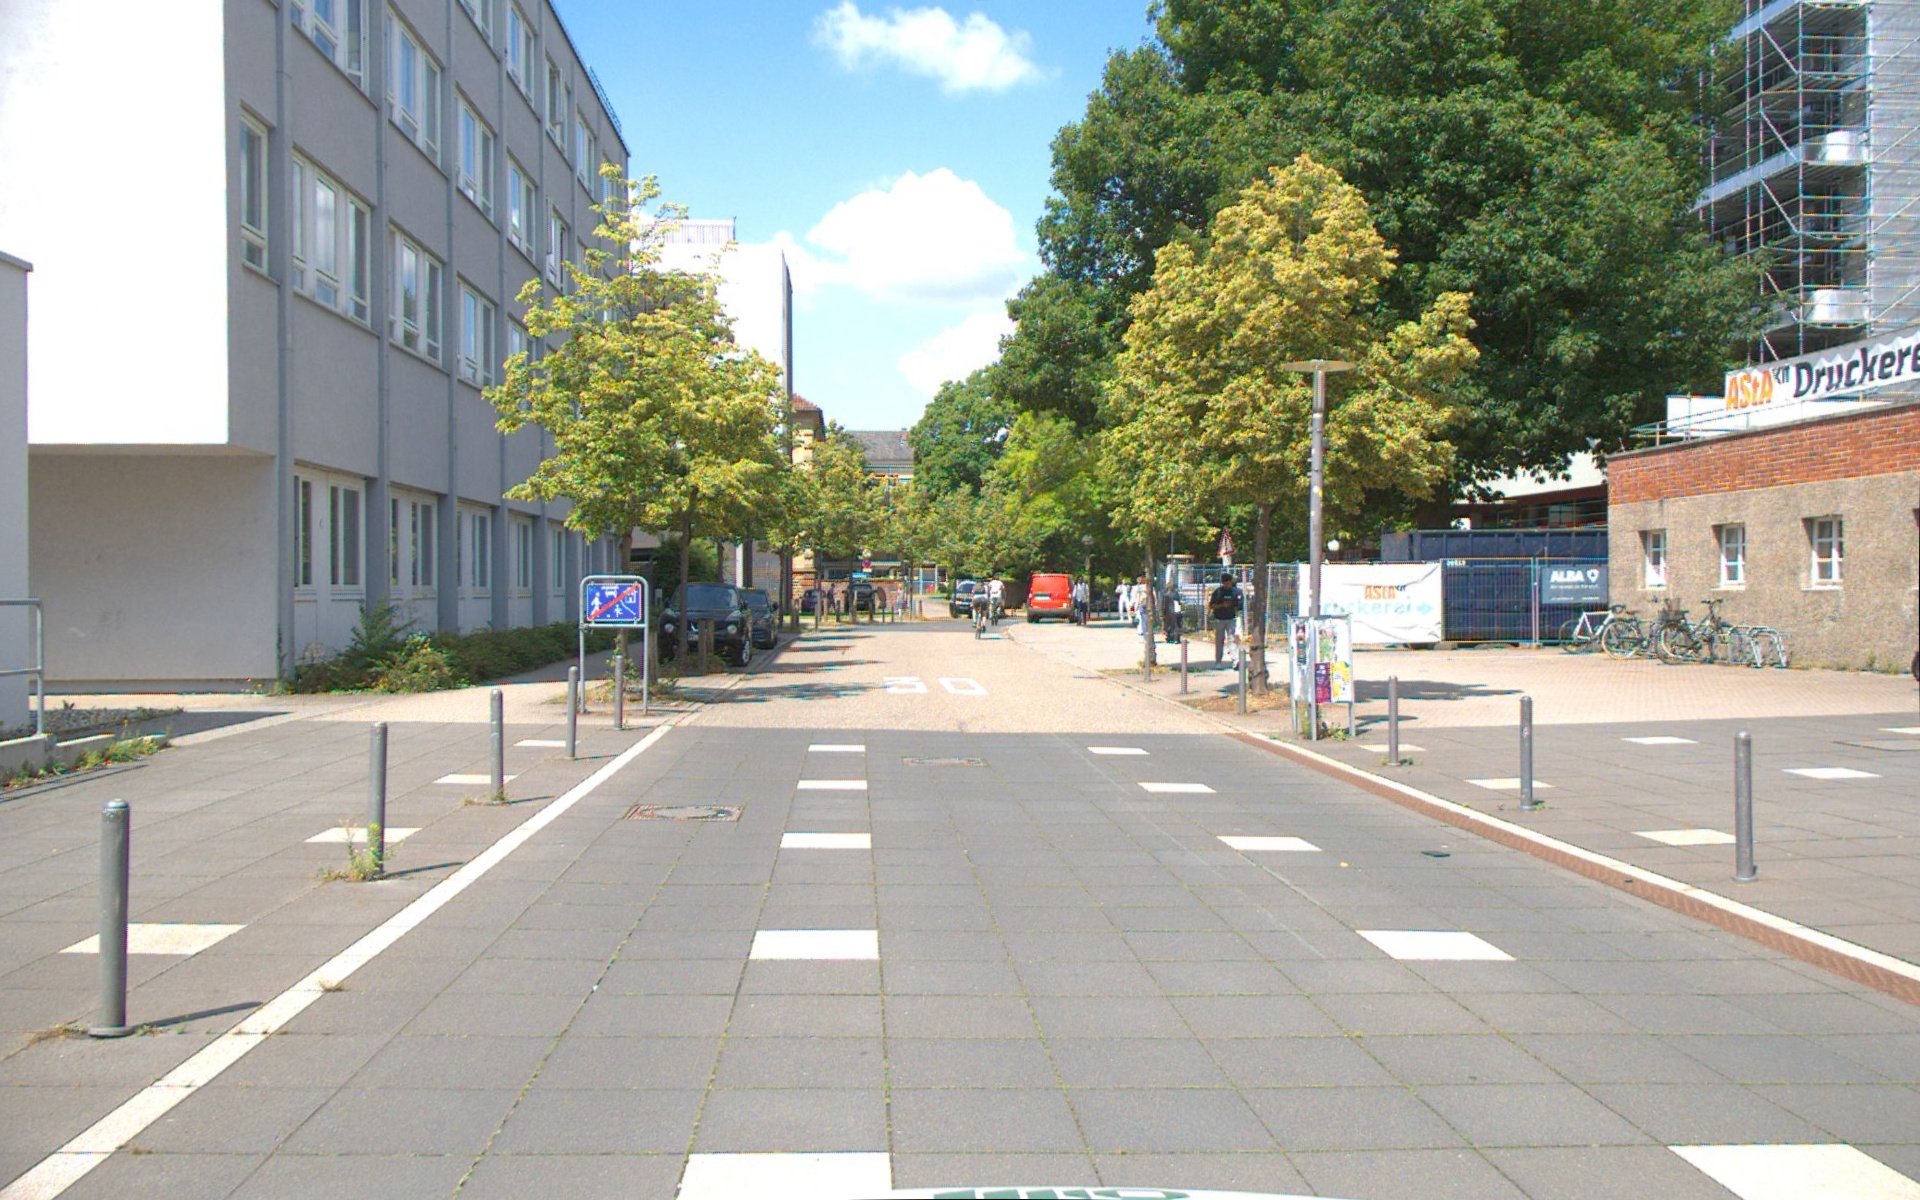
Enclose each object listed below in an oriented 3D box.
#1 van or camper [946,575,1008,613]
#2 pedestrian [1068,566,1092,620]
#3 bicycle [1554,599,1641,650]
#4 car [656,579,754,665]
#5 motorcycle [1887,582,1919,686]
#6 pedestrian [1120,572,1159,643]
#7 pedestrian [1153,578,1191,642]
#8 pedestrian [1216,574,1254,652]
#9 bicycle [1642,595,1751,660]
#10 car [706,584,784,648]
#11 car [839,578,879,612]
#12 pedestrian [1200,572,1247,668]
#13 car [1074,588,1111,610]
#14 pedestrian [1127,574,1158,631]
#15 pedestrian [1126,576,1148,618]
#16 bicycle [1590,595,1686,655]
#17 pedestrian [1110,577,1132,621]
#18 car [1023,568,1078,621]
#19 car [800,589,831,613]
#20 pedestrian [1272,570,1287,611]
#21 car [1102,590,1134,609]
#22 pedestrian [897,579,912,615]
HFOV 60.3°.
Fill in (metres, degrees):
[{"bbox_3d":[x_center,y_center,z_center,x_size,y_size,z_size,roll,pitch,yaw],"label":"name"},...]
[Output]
[{"bbox_3d":[0.954,-0.327,89.261,1.912,1.957,5.424,1,1,16],"label":"van or camper"},{"bbox_3d":[4.131,-0.246,56.890,0.680,1.812,0.787,-1,0,12],"label":"pedestrian"},{"bbox_3d":[13.061,0.501,33.896,1.638,1.021,0.447,0,0,-4],"label":"bicycle"},{"bbox_3d":[-4.997,0.387,32.824,1.664,1.591,4.063,0,0,-5],"label":"car"},{"bbox_3d":[12.747,0.444,20.977,0.682,1.346,2.219,0,0,-2],"label":"motorcycle"},{"bbox_3d":[4.609,0.187,42.516,0.834,1.794,0.714,-1,0,-9],"label":"pedestrian"},{"bbox_3d":[5.443,0.249,42.428,0.657,1.628,0.982,-1,0,-13],"label":"pedestrian"},{"bbox_3d":[6.015,0.277,36.190,0.636,1.695,0.904,-1,0,-2],"label":"pedestrian"},{"bbox_3d":[13.126,0.479,29.480,1.770,1.129,0.447,0,0,-4],"label":"bicycle"},{"bbox_3d":[-5.309,0.359,41.270,1.743,1.486,4.254,1,0,-5],"label":"car"},{"bbox_3d":[-5.942,-0.284,97.050,2.133,1.959,5.180,0,0,-6],"label":"car"},{"bbox_3d":[4.818,0.353,30.235,0.629,1.726,0.791,0,0,-9],"label":"pedestrian"},{"bbox_3d":[9.174,-0.082,114.668,1.722,1.548,4.114,0,0,17],"label":"car"},{"bbox_3d":[5.318,0.076,48.171,0.699,1.660,0.710,0,0,28],"label":"pedestrian"},{"bbox_3d":[7.401,-0.119,69.100,0.738,1.740,0.556,0,0,-40],"label":"pedestrian"},{"bbox_3d":[12.920,0.469,31.527,1.667,1.129,0.447,0,0,-4],"label":"bicycle"},{"bbox_3d":[6.814,-0.029,70.121,0.717,1.853,0.621,0,0,-40],"label":"pedestrian"},{"bbox_3d":[3.461,-0.219,62.621,1.809,1.924,4.894,-1,0,6],"label":"car"},{"bbox_3d":[-8.463,0.047,96.839,1.782,1.347,3.764,0,0,-5],"label":"car"},{"bbox_3d":[14.683,-0.439,76.000,0.532,1.869,0.762,0,0,3],"label":"pedestrian"},{"bbox_3d":[11.644,-0.040,121.901,1.581,1.412,4.002,0,0,17],"label":"car"},{"bbox_3d":[-2.830,-0.166,83.964,0.571,1.795,0.912,0,0,9],"label":"pedestrian"}]
